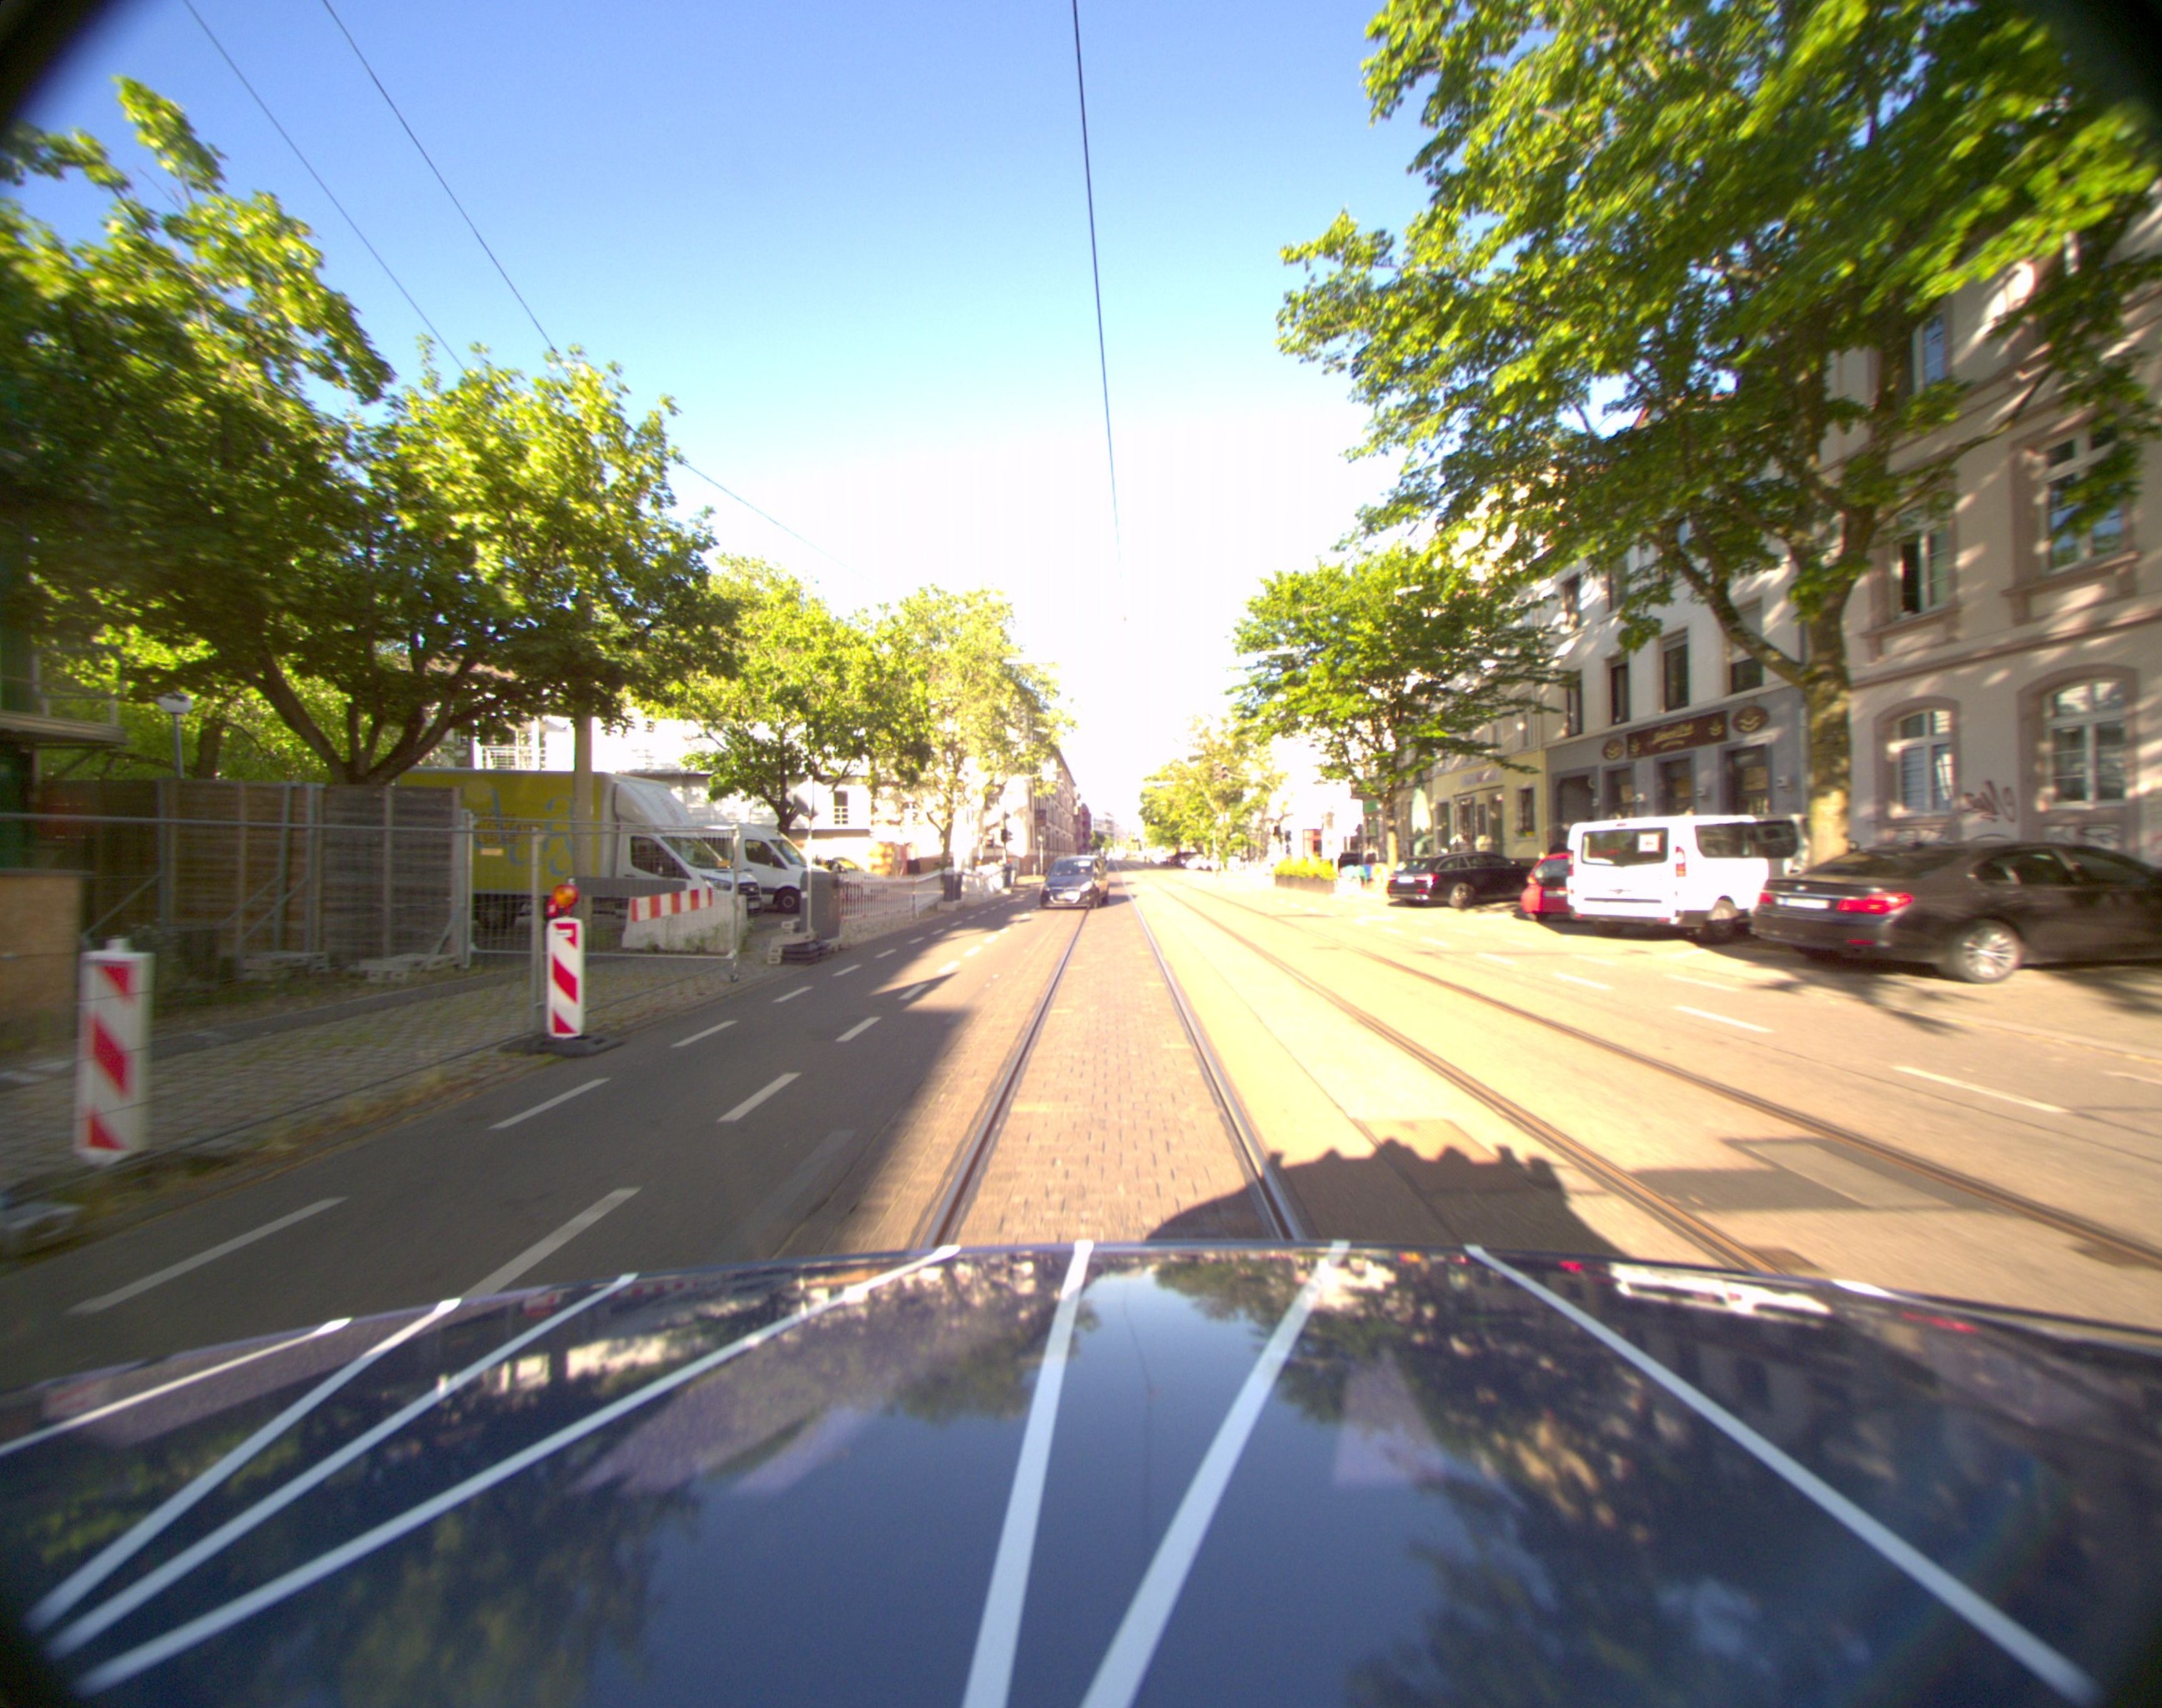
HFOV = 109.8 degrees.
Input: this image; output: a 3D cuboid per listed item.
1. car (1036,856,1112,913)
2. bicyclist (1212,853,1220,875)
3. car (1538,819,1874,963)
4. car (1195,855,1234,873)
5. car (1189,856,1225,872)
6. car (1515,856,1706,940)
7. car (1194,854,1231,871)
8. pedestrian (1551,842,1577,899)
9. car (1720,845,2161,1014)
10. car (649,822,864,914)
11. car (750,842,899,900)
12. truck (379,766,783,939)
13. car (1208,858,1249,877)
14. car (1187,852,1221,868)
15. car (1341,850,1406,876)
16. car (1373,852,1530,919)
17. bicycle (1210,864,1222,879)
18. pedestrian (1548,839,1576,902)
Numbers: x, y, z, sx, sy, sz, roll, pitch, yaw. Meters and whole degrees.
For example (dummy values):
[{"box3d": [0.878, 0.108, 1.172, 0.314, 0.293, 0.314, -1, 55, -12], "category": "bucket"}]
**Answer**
[{"box3d": [-0.130, 0.891, 24.068, 1.748, 1.612, 4.173, -1, 0, 8], "category": "car"}, {"box3d": [8.860, 0.666, 49.855, 0.419, 1.462, 0.590, 0, 0, -2], "category": "bicyclist"}, {"box3d": [10.217, 0.500, 12.439, 4.945, 2.002, 2.071, -1, 0, -21], "category": "car"}, {"box3d": [12.330, 0.912, 70.293, 3.336, 1.445, 1.496, -2, 2, 4], "category": "car"}, {"box3d": [12.454, 0.971, 75.155, 3.336, 1.445, 1.496, -2, 2, 5], "category": "car"}, {"box3d": [10.852, 0.854, 15.612, 3.342, 1.445, 1.494, -3, 0, -19], "category": "car"}, {"box3d": [12.516, 0.836, 72.681, 3.336, 1.445, 1.496, -2, 2, 5], "category": "car"}, {"box3d": [15.386, 0.522, 24.216, 0.487, 1.800, 0.510, 0, 1, 3], "category": "pedestrian"}, {"box3d": [10.595, 0.770, 8.834, 4.707, 1.567, 1.954, -2, 0, -2], "category": "car"}, {"box3d": [-9.269, 0.379, 22.012, 5.335, 2.547, 2.014, 0, 1, 2], "category": "car"}, {"box3d": [-9.458, 0.619, 28.237, 4.792, 1.998, 2.001, -1, 0, 6], "category": "car"}, {"box3d": [-10.391, -0.032, 16.242, 7.092, 3.399, 2.371, 0, 1, 2], "category": "truck"}, {"box3d": [12.557, 1.117, 64.888, 3.335, 1.445, 1.497, -2, 2, 9], "category": "car"}, {"box3d": [12.836, 0.610, 79.157, 3.336, 1.445, 1.496, -2, 2, 5], "category": "car"}, {"box3d": [20.155, 0.586, 52.529, 3.992, 1.739, 2.002, 0, 0, 14], "category": "car"}, {"box3d": [10.129, 0.801, 20.755, 4.005, 1.549, 1.777, -2, 1, -27], "category": "car"}, {"box3d": [8.848, 1.137, 49.733, 0.451, 0.930, 1.757, 0, 0, -2], "category": "bicycle"}, {"box3d": [14.498, 0.505, 22.905, 0.454, 1.875, 0.592, 0, 1, 2], "category": "pedestrian"}]
